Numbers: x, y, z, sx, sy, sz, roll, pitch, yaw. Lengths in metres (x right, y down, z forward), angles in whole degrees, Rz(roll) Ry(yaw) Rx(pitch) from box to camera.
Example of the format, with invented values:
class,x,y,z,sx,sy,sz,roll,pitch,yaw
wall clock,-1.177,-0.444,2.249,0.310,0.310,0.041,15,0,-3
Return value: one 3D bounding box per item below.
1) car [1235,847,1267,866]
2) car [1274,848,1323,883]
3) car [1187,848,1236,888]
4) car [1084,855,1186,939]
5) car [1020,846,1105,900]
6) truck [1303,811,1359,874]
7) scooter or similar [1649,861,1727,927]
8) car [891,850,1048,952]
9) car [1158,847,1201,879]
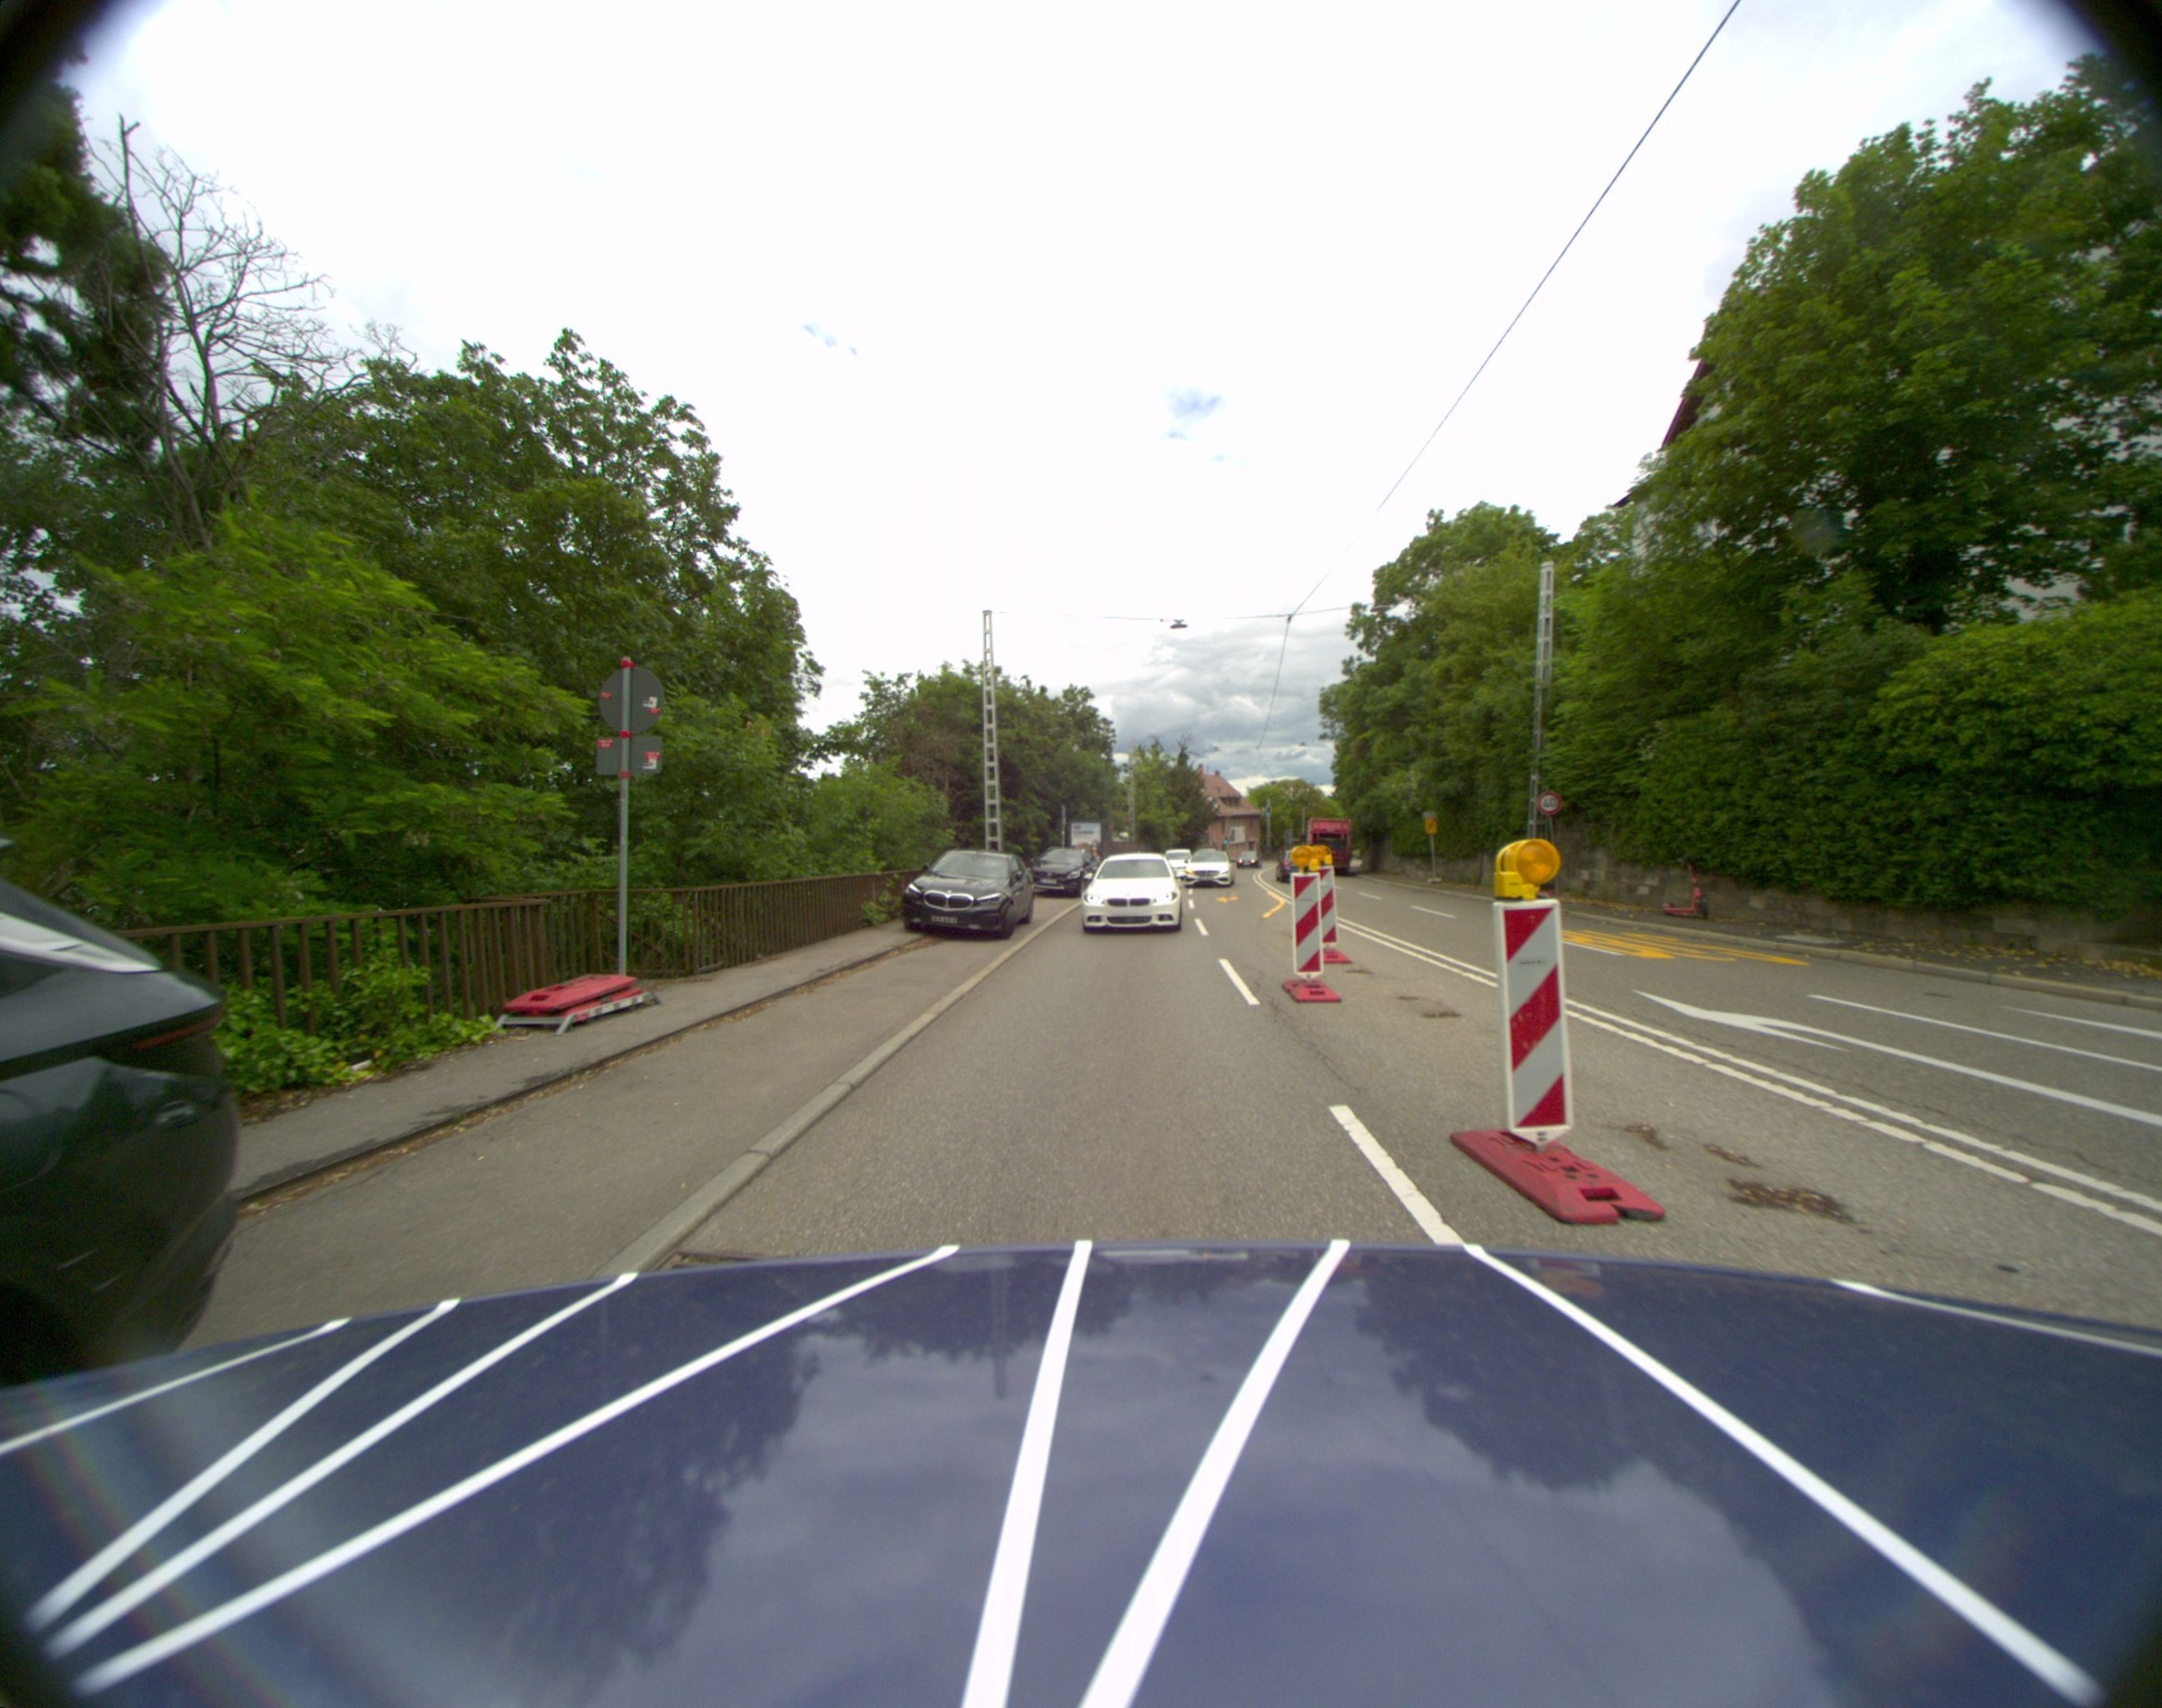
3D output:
class,x,y,z,sx,sy,sz,roll,pitch,yaw
car,14.403,0.184,64.356,1.789,1.472,4.251,-1,1,24
car,9.769,0.481,34.344,1.717,1.453,4.003,1,1,11
car,5.333,0.530,30.686,1.790,1.472,4.249,0,0,12
car,1.238,0.765,15.585,1.791,1.472,4.247,0,0,8
car,-0.513,0.542,25.131,1.856,1.525,4.235,3,1,11
truck,16.338,-0.740,50.234,2.863,3.677,9.668,3,1,15
scooter or similar,11.971,0.763,15.021,0.429,1.202,1.281,-3,1,-4
car,-1.872,0.731,14.163,1.857,1.427,4.233,5,1,5
car,5.273,0.421,40.241,1.790,1.542,4.249,-1,1,14
